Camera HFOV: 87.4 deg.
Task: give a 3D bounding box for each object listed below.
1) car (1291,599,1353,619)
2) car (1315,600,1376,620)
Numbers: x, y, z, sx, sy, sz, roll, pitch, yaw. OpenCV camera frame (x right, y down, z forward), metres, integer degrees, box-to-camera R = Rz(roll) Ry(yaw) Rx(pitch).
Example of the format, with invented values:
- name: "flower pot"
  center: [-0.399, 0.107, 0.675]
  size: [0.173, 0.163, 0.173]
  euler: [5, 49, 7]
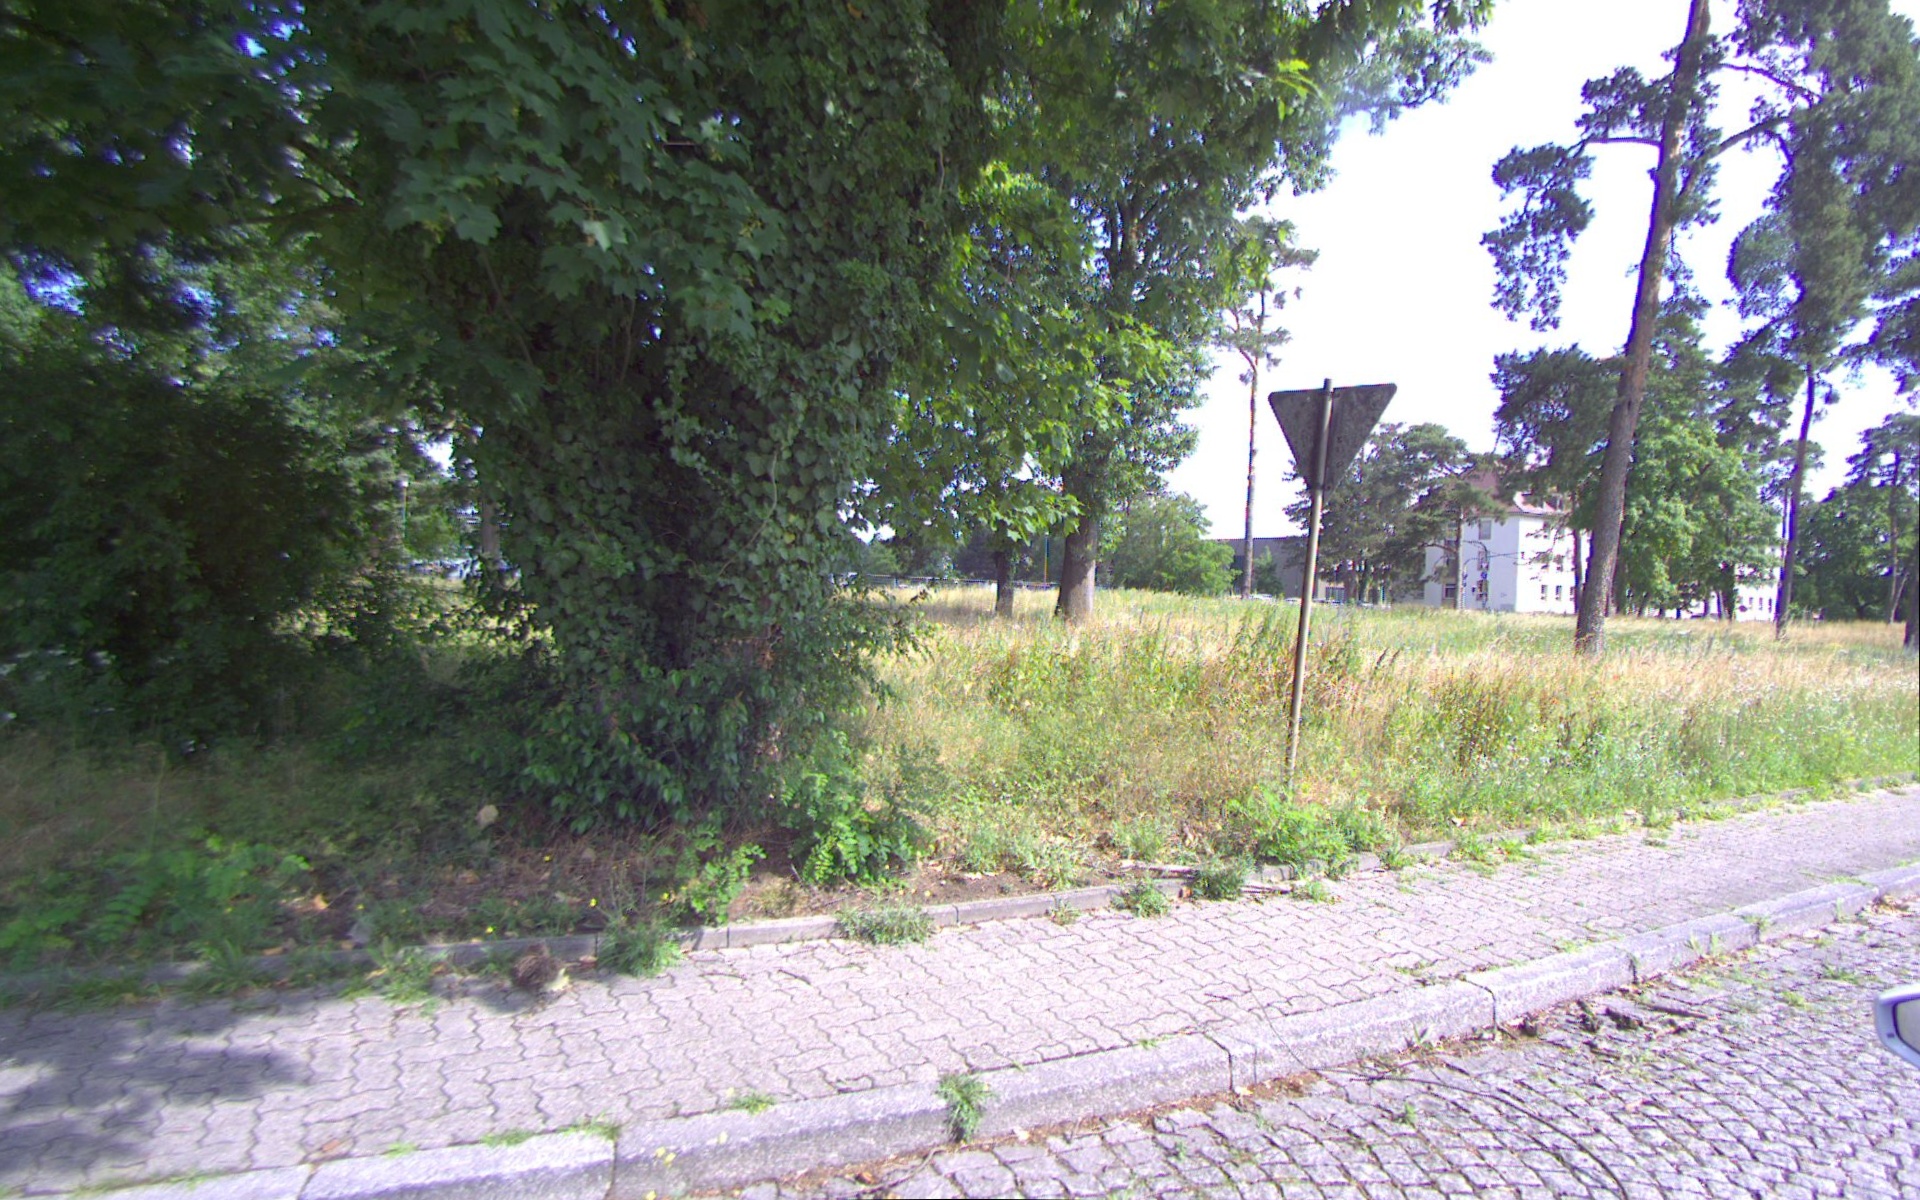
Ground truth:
- name: "car"
  center: [26.998, 0.662, 75.008]
  size: [1.878, 1.337, 4.046]
  euler: [2, 0, -30]
- name: "car"
  center: [29.129, 0.741, 76.012]
  size: [1.878, 1.327, 4.046]
  euler: [2, 0, -30]
